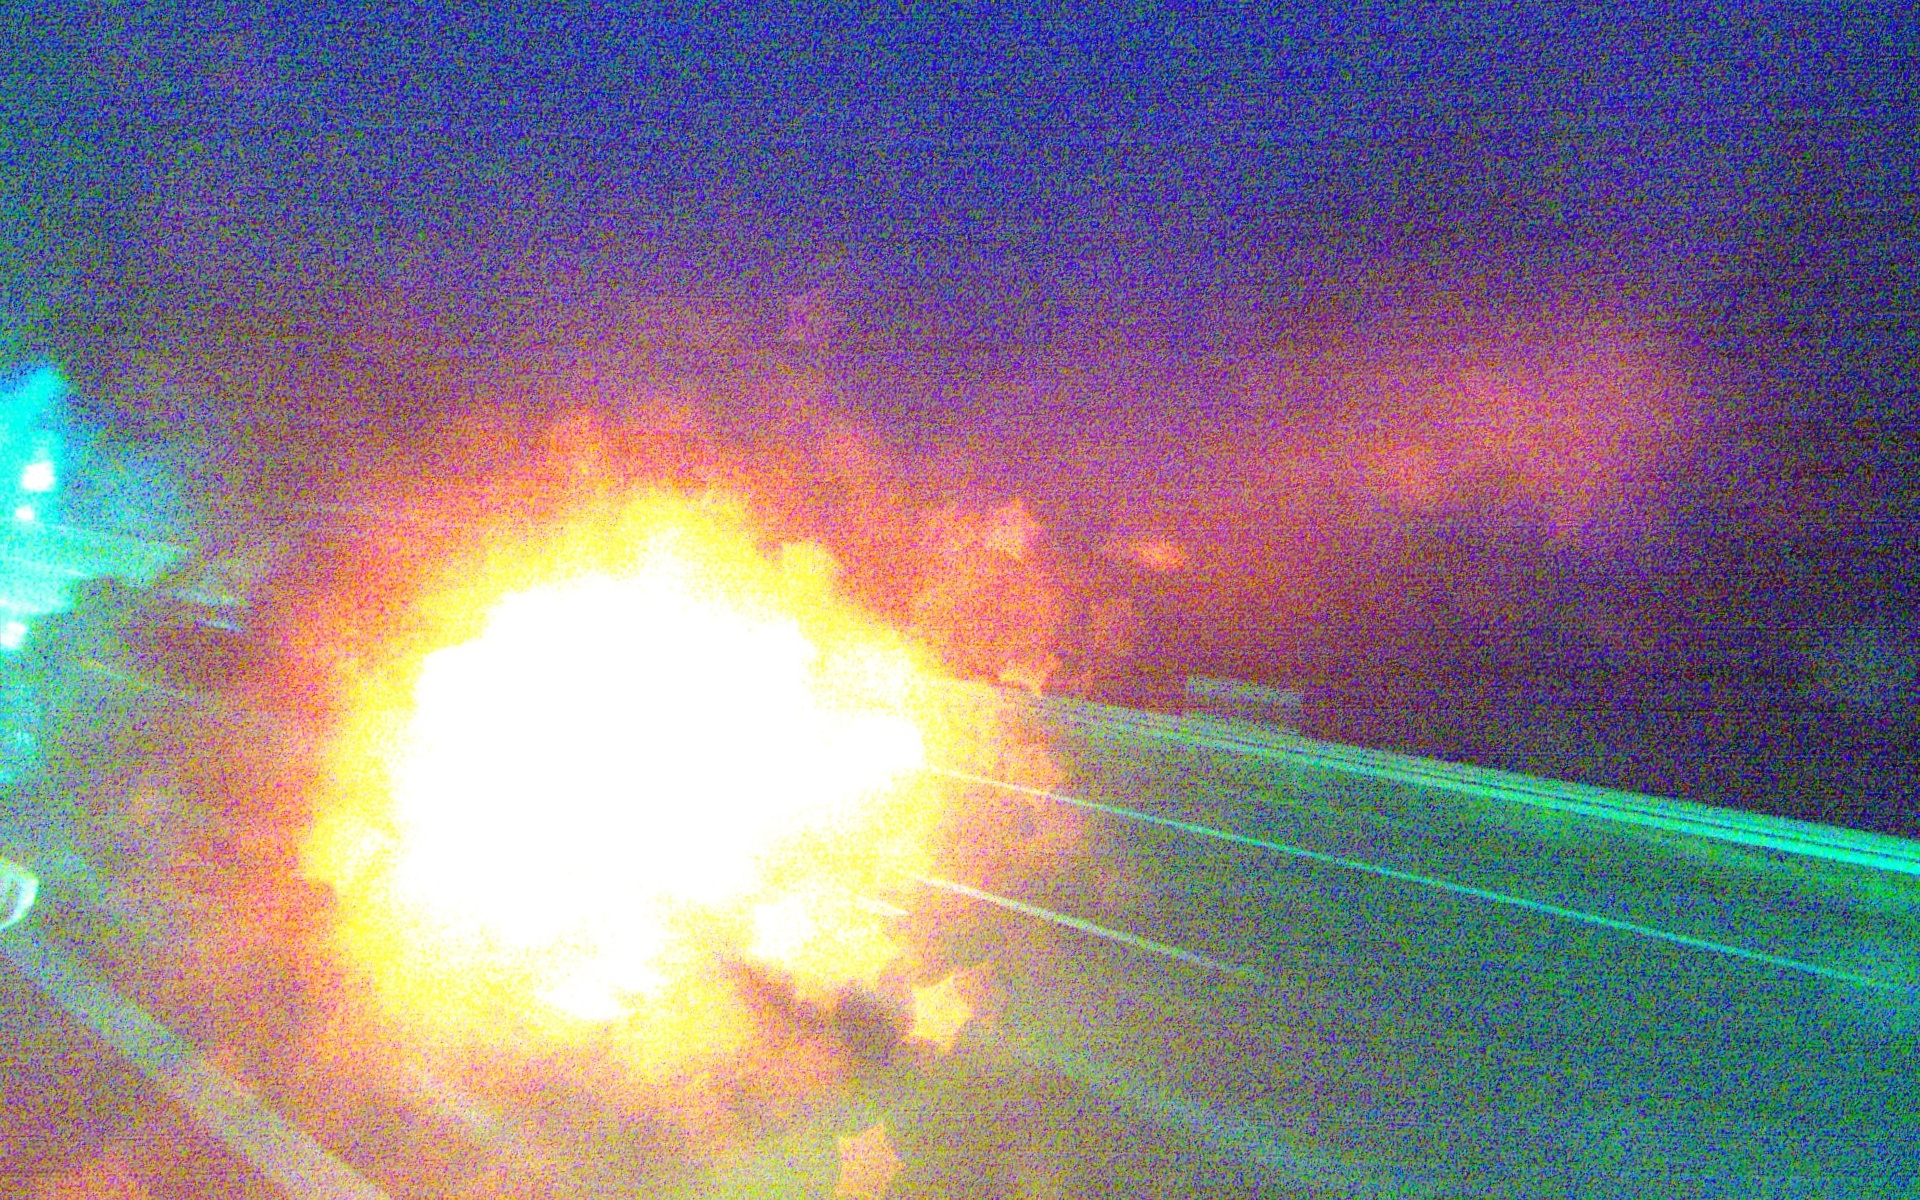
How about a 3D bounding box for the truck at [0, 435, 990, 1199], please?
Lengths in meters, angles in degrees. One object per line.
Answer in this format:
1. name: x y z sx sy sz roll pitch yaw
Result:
1. truck: -2.477 0.381 4.272 4.774 1.716 1.847 6 -2 32
